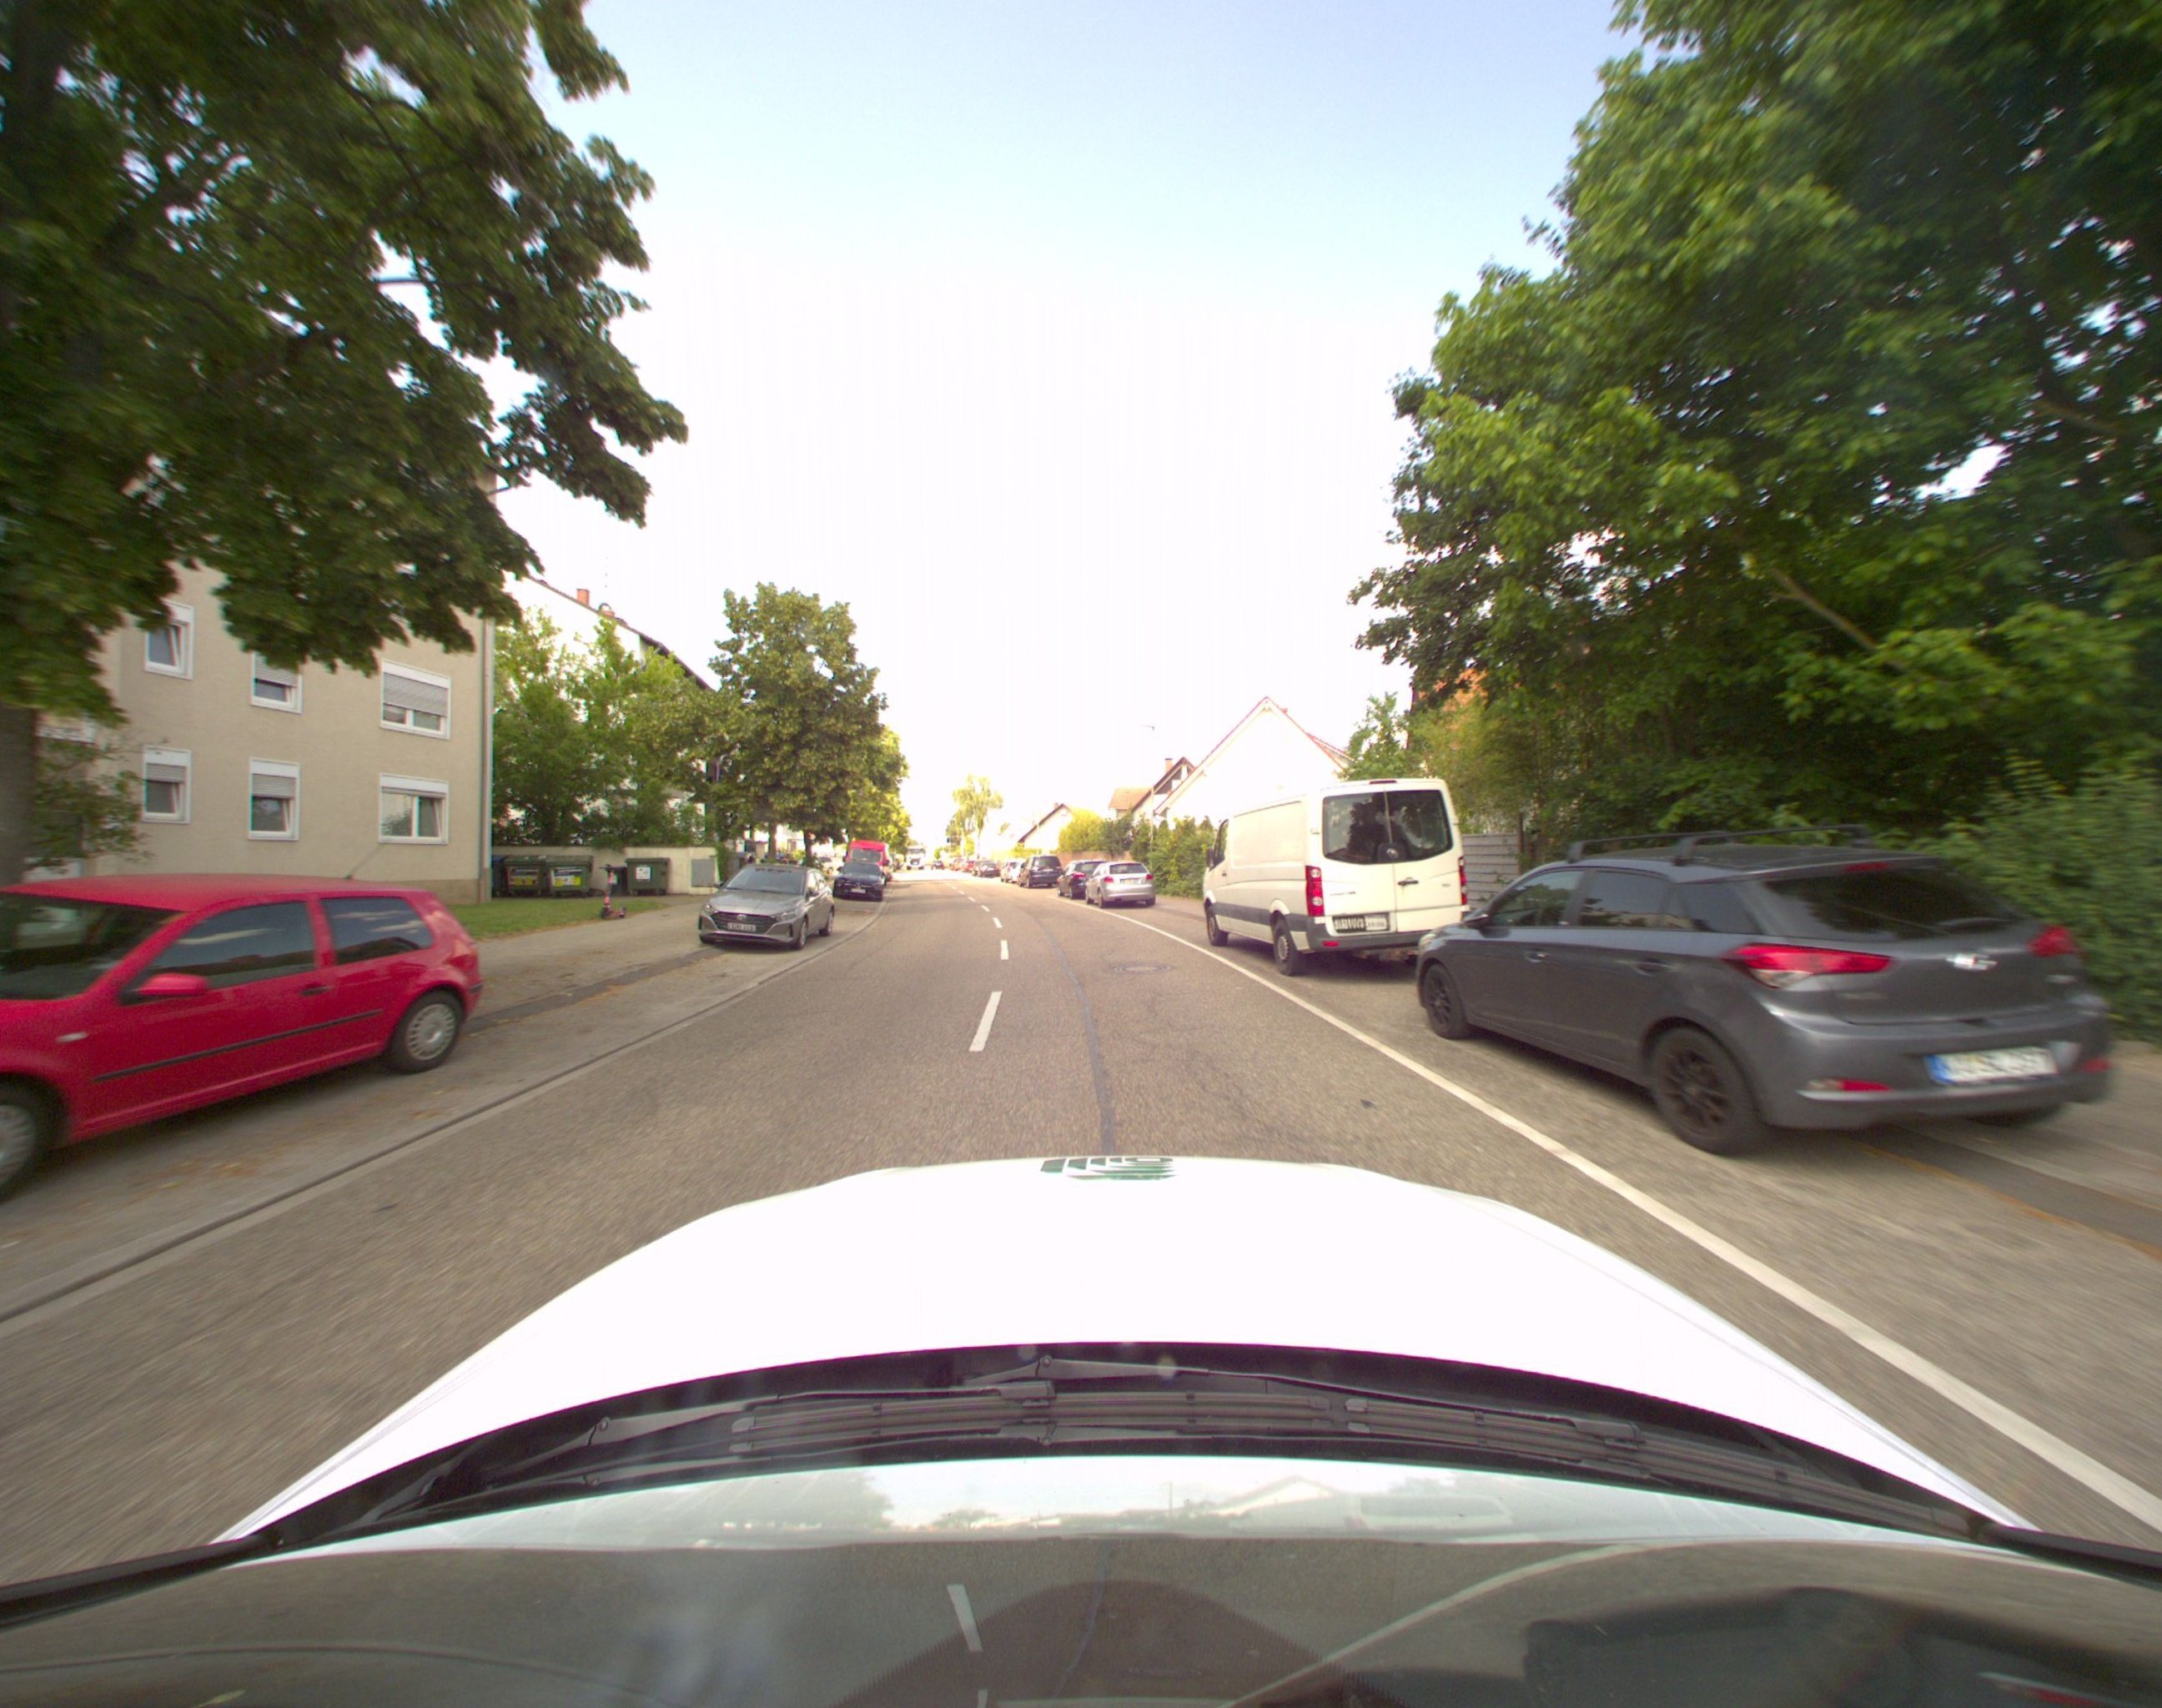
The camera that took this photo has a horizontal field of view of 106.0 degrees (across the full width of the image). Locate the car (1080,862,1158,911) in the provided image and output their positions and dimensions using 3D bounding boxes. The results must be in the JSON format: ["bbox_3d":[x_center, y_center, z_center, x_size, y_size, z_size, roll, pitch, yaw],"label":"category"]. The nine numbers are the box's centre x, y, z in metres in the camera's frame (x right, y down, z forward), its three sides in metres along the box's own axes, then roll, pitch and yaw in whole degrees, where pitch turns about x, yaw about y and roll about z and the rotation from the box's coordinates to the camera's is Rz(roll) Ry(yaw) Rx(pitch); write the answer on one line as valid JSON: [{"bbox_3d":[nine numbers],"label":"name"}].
[{"bbox_3d":[1.163,0.993,26.710,1.737,1.457,4.351,0,-1,-9],"label":"car"}]

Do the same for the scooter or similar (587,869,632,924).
[{"bbox_3d":[-10.489,0.929,18.150,0.419,1.165,1.137,1,0,-7],"label":"scooter or similar"}]

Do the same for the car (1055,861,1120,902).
[{"bbox_3d":[0.186,1.026,32.140,1.738,1.509,4.458,0,-1,-11],"label":"car"}]

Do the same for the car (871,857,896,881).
[{"bbox_3d":[-16.186,1.235,66.643,1.789,1.746,4.414,4,-2,-14],"label":"car"}]

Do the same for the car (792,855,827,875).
[{"bbox_3d":[-22.637,0.948,68.027,1.785,1.458,4.425,4,-2,-6],"label":"car"}]

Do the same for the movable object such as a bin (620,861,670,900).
[{"bbox_3d":[-14.964,0.906,28.001,1.188,1.274,0.878,0,3,0],"label":"movable object such as a bin"}]

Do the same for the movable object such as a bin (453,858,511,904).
[{"bbox_3d":[-20.166,0.900,27.450,1.243,1.437,0.927,-1,3,-9],"label":"movable object such as a bin"}]

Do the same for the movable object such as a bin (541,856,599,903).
[{"bbox_3d":[-17.194,0.839,27.431,1.196,1.437,1.366,-1,3,-12],"label":"movable object such as a bin"}]

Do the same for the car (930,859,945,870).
[{"bbox_3d":[-20.256,1.530,114.554,1.797,1.523,4.510,0,-1,-13],"label":"car"}]

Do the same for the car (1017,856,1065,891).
[{"bbox_3d":[-2.191,1.015,43.623,1.797,1.748,4.562,0,-1,-13],"label":"car"}]

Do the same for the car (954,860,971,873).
[{"bbox_3d":[-15.127,1.572,103.641,1.796,1.523,4.512,0,-1,-12],"label":"car"}]

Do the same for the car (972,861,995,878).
[{"bbox_3d":[-9.063,1.393,75.521,1.796,1.523,3.956,0,-1,-12],"label":"car"}]

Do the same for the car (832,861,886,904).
[{"bbox_3d":[-8.566,1.053,31.698,1.789,1.458,4.414,4,-2,-14],"label":"car"}]

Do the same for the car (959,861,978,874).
[{"bbox_3d":[-12.985,1.527,94.070,1.796,1.523,4.512,0,-1,-12],"label":"car"}]

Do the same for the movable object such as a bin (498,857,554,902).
[{"bbox_3d":[-18.852,0.855,27.691,1.243,1.437,0.927,-1,3,-9],"label":"movable object such as a bin"}]

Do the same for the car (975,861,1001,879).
[{"bbox_3d":[-8.142,1.407,71.090,1.796,1.523,3.956,0,-1,-12],"label":"car"}]

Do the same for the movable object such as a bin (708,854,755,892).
[{"bbox_3d":[-14.309,0.760,33.433,1.354,1.504,1.820,0,0,-10],"label":"movable object such as a bin"}]

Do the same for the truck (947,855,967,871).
[{"bbox_3d":[-18.127,1.360,118.858,2.570,2.260,6.506,0,-1,-12],"label":"truck"}]

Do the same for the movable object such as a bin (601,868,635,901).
[{"bbox_3d":[-15.917,1.038,27.987,0.623,1.024,0.878,0,3,0],"label":"movable object such as a bin"}]

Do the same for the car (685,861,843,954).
[{"bbox_3d":[-5.927,0.915,15.791,1.758,1.489,4.333,2,0,-7],"label":"car"}]

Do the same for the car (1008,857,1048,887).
[{"bbox_3d":[-3.282,1.088,49.810,1.798,1.748,3.953,0,-1,-14],"label":"car"}]

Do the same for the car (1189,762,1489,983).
[{"bbox_3d":[3.299,0.230,12.061,2.114,2.441,5.882,0,-1,-6],"label":"car"}]

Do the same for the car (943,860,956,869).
[{"bbox_3d":[-21.721,1.714,134.531,1.797,1.523,4.510,0,-1,-13],"label":"car"}]

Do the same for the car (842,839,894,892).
[{"bbox_3d":[-11.419,0.602,44.038,2.064,2.501,5.820,4,-1,-10],"label":"car"}]

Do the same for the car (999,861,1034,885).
[{"bbox_3d":[-4.332,1.215,54.224,1.797,1.523,3.955,0,-1,-13],"label":"car"}]

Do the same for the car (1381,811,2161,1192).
[{"bbox_3d":[3.734,0.633,5.520,1.714,1.585,4.119,0,-1,-3],"label":"car"}]

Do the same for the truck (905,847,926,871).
[{"bbox_3d":[-24.862,0.755,122.792,2.864,3.513,12.308,0,-1,-11],"label":"truck"}]

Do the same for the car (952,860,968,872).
[{"bbox_3d":[-16.091,1.583,108.152,1.796,1.523,4.512,0,-1,-12],"label":"car"}]

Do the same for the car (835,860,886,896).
[{"bbox_3d":[-10.189,1.097,37.953,1.787,1.458,4.419,4,-2,-10],"label":"car"}]

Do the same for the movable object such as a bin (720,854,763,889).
[{"bbox_3d":[-15.007,0.754,36.087,1.354,1.504,1.820,0,0,-10],"label":"movable object such as a bin"}]

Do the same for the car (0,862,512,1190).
[{"bbox_3d":[-5.821,0.803,4.833,1.830,1.439,4.093,2,-1,2],"label":"car"}]
